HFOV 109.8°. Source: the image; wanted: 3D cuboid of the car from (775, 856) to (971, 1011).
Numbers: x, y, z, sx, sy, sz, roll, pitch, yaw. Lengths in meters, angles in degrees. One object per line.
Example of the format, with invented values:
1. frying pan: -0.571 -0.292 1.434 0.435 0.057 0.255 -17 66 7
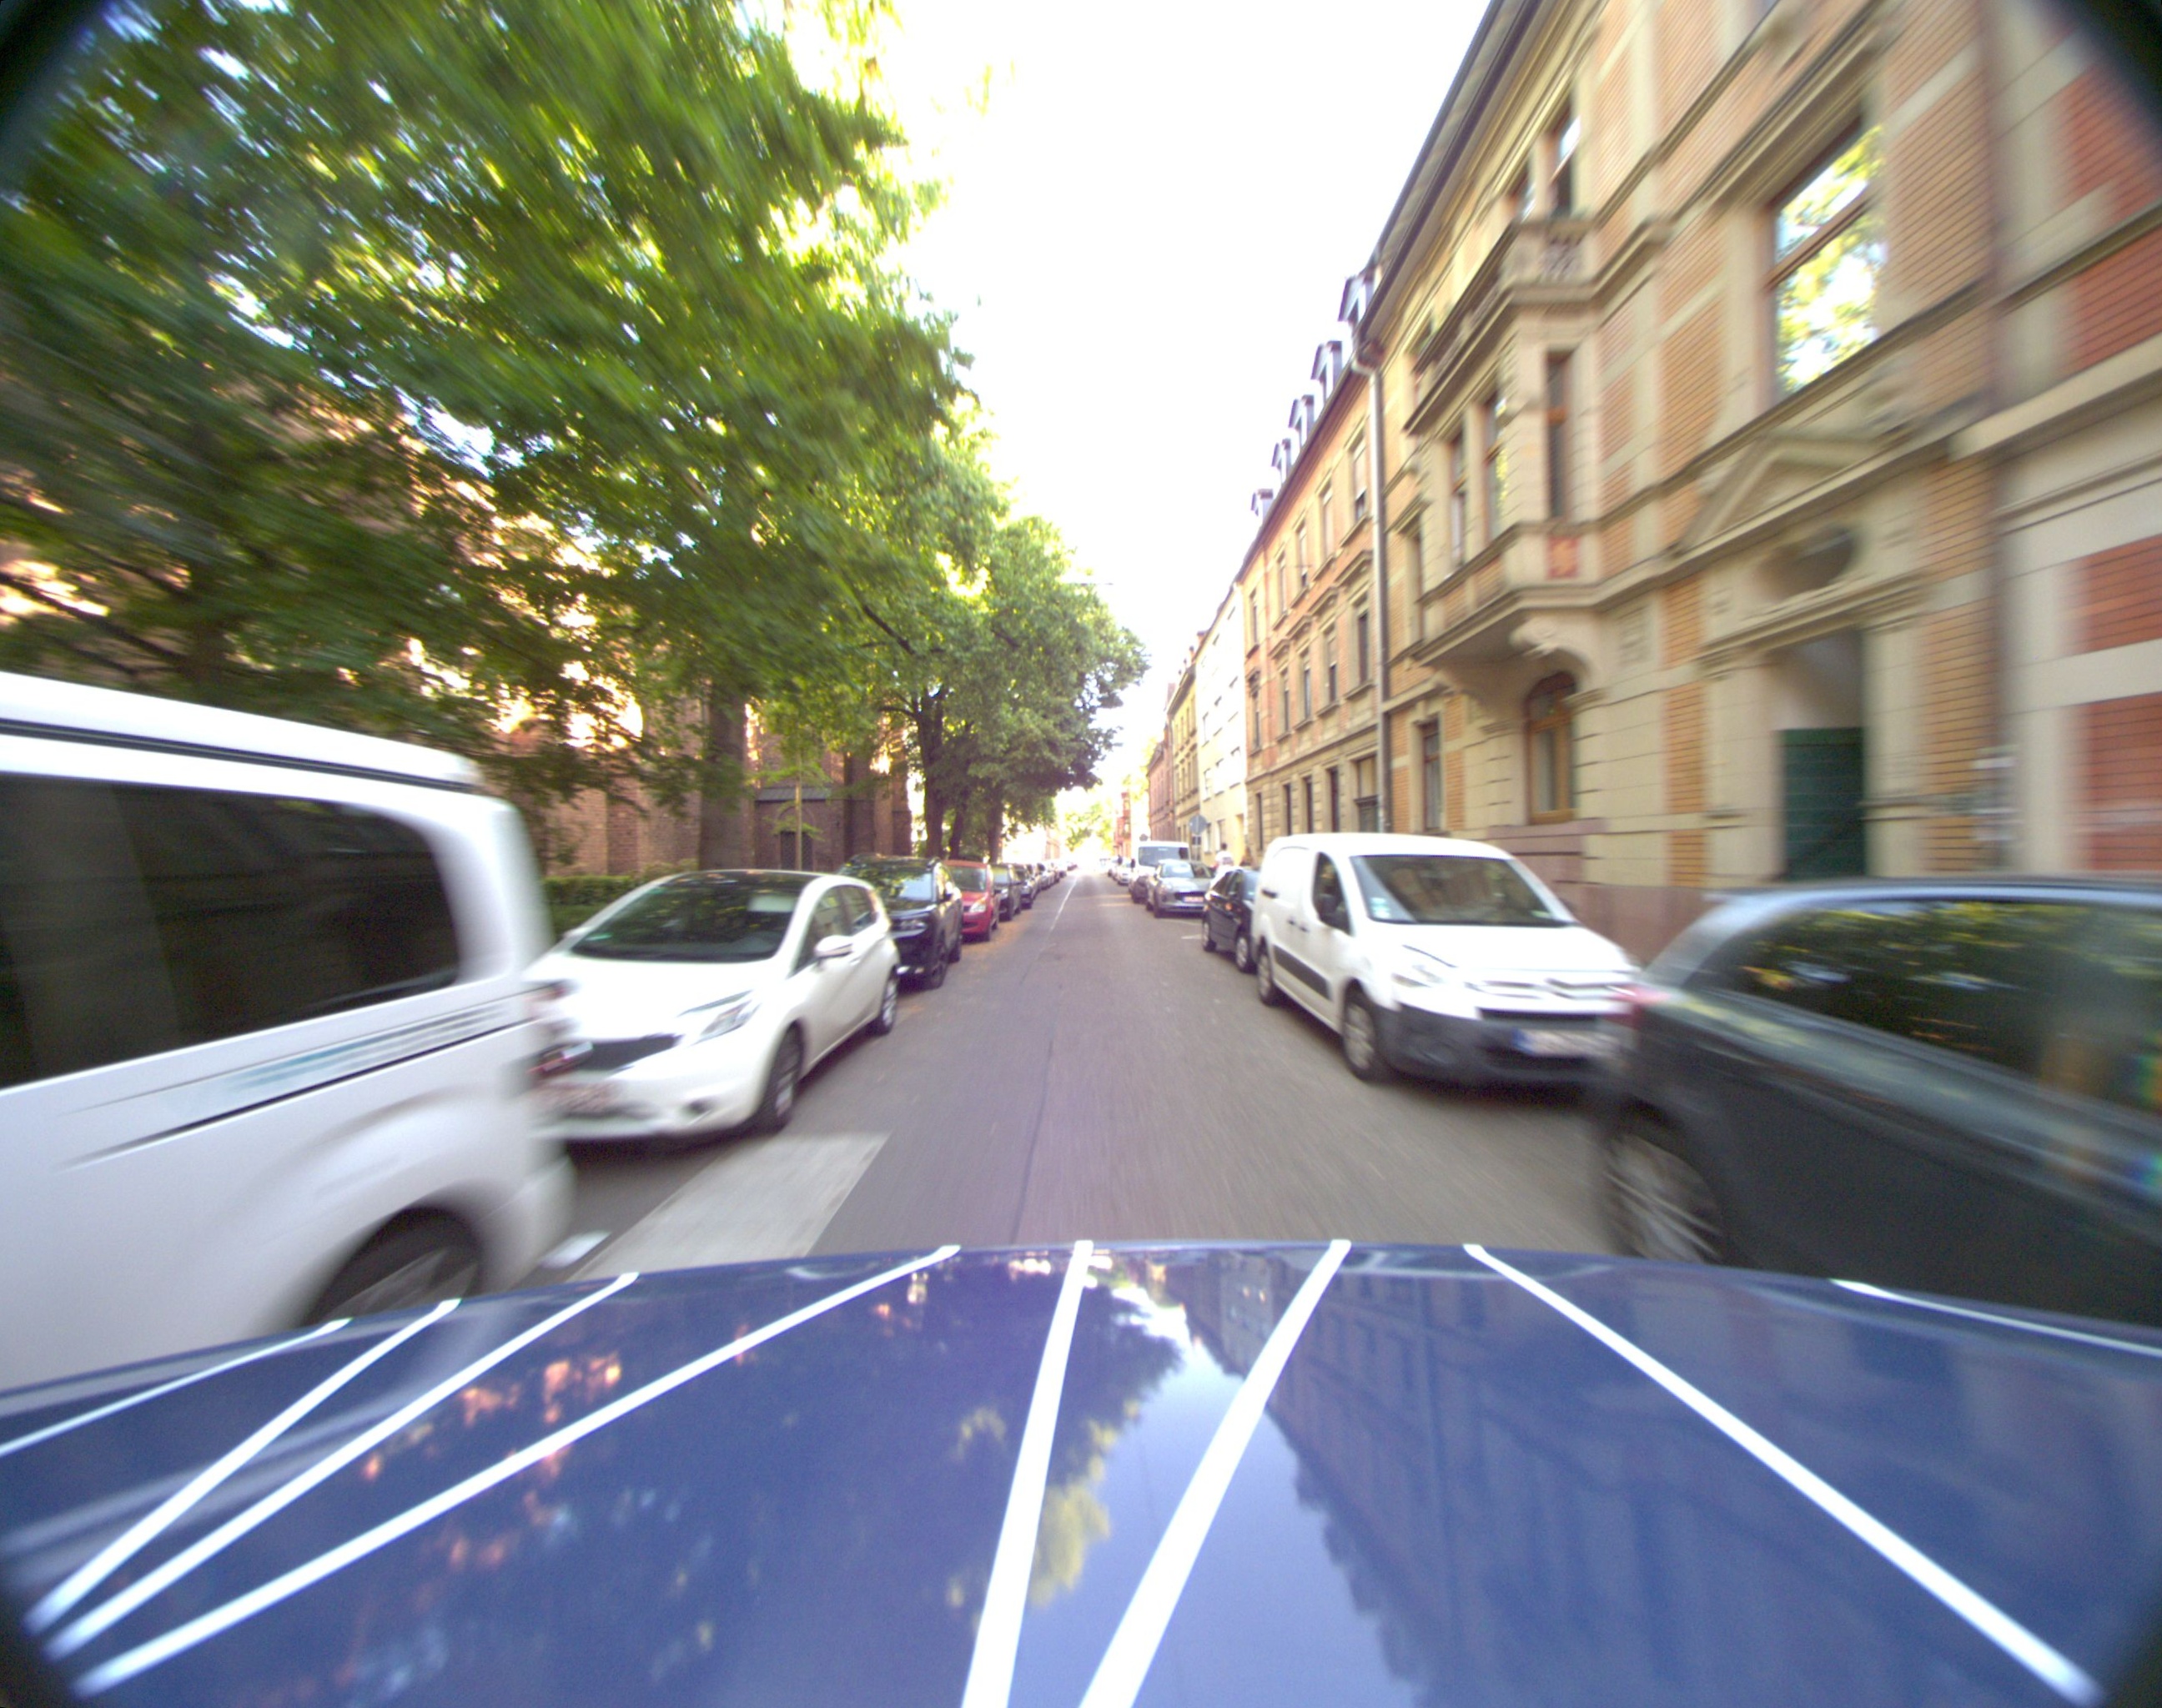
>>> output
1. car: -2.659 0.914 10.733 1.744 1.594 4.262 3 1 -3

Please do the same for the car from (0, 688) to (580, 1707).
1. car: -2.705 0.725 0.115 1.919 1.987 4.792 1 0 3

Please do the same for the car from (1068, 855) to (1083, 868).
1. car: -0.712 0.992 100.814 1.845 1.643 4.000 0 0 1

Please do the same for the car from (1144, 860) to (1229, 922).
1. car: 2.833 0.959 21.261 1.771 1.505 4.193 1 0 0

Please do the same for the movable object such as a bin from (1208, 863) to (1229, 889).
1. movable object such as a bin: 5.878 0.937 32.494 0.802 1.082 0.666 -1 2 5

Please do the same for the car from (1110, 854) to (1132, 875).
1. car: 3.411 0.883 65.296 1.713 1.664 4.278 1 1 2

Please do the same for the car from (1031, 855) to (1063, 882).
1. car: -2.178 0.922 50.280 1.668 1.577 4.100 3 1 3

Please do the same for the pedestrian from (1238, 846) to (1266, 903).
1. pedestrian: 5.472 0.653 24.390 0.703 1.761 0.649 -2 2 1

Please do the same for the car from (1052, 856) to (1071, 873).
1. car: -1.851 1.008 71.653 1.713 1.511 3.831 0 1 -1

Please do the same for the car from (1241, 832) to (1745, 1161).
1. car: 2.753 0.790 6.487 1.835 1.801 4.572 1 0 0

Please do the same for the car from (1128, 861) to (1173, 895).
1. car: 3.045 1.017 33.934 1.735 1.394 4.316 1 0 2

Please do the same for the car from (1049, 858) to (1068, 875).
1. car: -1.912 1.049 65.862 1.625 1.428 4.002 0 1 -1

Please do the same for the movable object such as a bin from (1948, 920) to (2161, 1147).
1. movable object such as a bin: 5.676 0.941 4.247 0.639 1.035 0.856 -3 1 0

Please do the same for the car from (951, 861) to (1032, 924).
1. car: -2.451 1.012 21.590 1.622 1.478 3.776 3 1 3

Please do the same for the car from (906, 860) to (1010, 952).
1. car: -2.551 1.013 16.551 1.623 1.615 3.862 3 1 -1

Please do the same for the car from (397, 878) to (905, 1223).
1. car: -2.604 1.049 5.755 1.723 1.562 3.827 -1 0 -2

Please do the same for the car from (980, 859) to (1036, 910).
1. car: -2.445 0.992 26.386 1.680 1.433 4.693 3 1 -3

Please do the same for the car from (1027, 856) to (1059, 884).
1. car: -2.246 0.923 45.686 1.603 1.496 3.720 3 1 1

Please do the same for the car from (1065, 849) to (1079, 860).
1. car: -1.514 0.048 126.268 1.998 1.659 4.001 -1 0 2

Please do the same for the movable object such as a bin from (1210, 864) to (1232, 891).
1. movable object such as a bin: 5.825 0.987 31.661 0.802 1.082 0.666 -1 2 5

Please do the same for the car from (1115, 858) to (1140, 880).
1. car: 3.319 1.037 54.700 1.713 1.409 3.803 1 1 2

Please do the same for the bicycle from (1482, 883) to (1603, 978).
1. bicycle: 5.853 0.933 9.739 0.572 1.035 1.546 -3 0 1

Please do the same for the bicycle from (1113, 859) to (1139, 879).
1. bicycle: 2.956 1.018 50.231 0.573 1.236 1.840 -5 0 -38

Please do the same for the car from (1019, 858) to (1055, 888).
1. car: -2.316 0.997 40.929 1.603 1.462 3.869 1 1 1

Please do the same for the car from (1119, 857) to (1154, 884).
1. car: 3.167 0.913 44.345 1.735 1.447 4.521 1 0 1

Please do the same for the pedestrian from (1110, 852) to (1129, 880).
1. pedestrian: 2.530 0.768 49.911 0.490 1.792 1.112 -4 1 -38

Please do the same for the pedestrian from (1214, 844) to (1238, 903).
1. pedestrian: 4.693 0.620 24.605 0.580 1.872 0.904 -2 2 1

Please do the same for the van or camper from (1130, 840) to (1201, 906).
1. van or camper: 2.948 0.623 27.561 2.182 2.135 5.155 1 0 2

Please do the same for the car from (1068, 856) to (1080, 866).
1. car: -1.207 1.275 132.348 1.998 1.659 4.001 -1 0 2

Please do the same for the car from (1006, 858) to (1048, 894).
1. car: -2.535 1.002 36.262 1.603 1.459 3.563 3 1 1

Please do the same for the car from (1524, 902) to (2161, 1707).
1. car: 2.746 0.948 1.258 1.697 1.472 3.973 1 0 0

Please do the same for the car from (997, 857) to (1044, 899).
1. car: -2.449 0.929 31.438 1.603 1.496 3.627 3 1 0

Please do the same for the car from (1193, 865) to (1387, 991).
1. car: 2.920 0.965 11.521 1.697 1.505 3.972 1 0 -2
